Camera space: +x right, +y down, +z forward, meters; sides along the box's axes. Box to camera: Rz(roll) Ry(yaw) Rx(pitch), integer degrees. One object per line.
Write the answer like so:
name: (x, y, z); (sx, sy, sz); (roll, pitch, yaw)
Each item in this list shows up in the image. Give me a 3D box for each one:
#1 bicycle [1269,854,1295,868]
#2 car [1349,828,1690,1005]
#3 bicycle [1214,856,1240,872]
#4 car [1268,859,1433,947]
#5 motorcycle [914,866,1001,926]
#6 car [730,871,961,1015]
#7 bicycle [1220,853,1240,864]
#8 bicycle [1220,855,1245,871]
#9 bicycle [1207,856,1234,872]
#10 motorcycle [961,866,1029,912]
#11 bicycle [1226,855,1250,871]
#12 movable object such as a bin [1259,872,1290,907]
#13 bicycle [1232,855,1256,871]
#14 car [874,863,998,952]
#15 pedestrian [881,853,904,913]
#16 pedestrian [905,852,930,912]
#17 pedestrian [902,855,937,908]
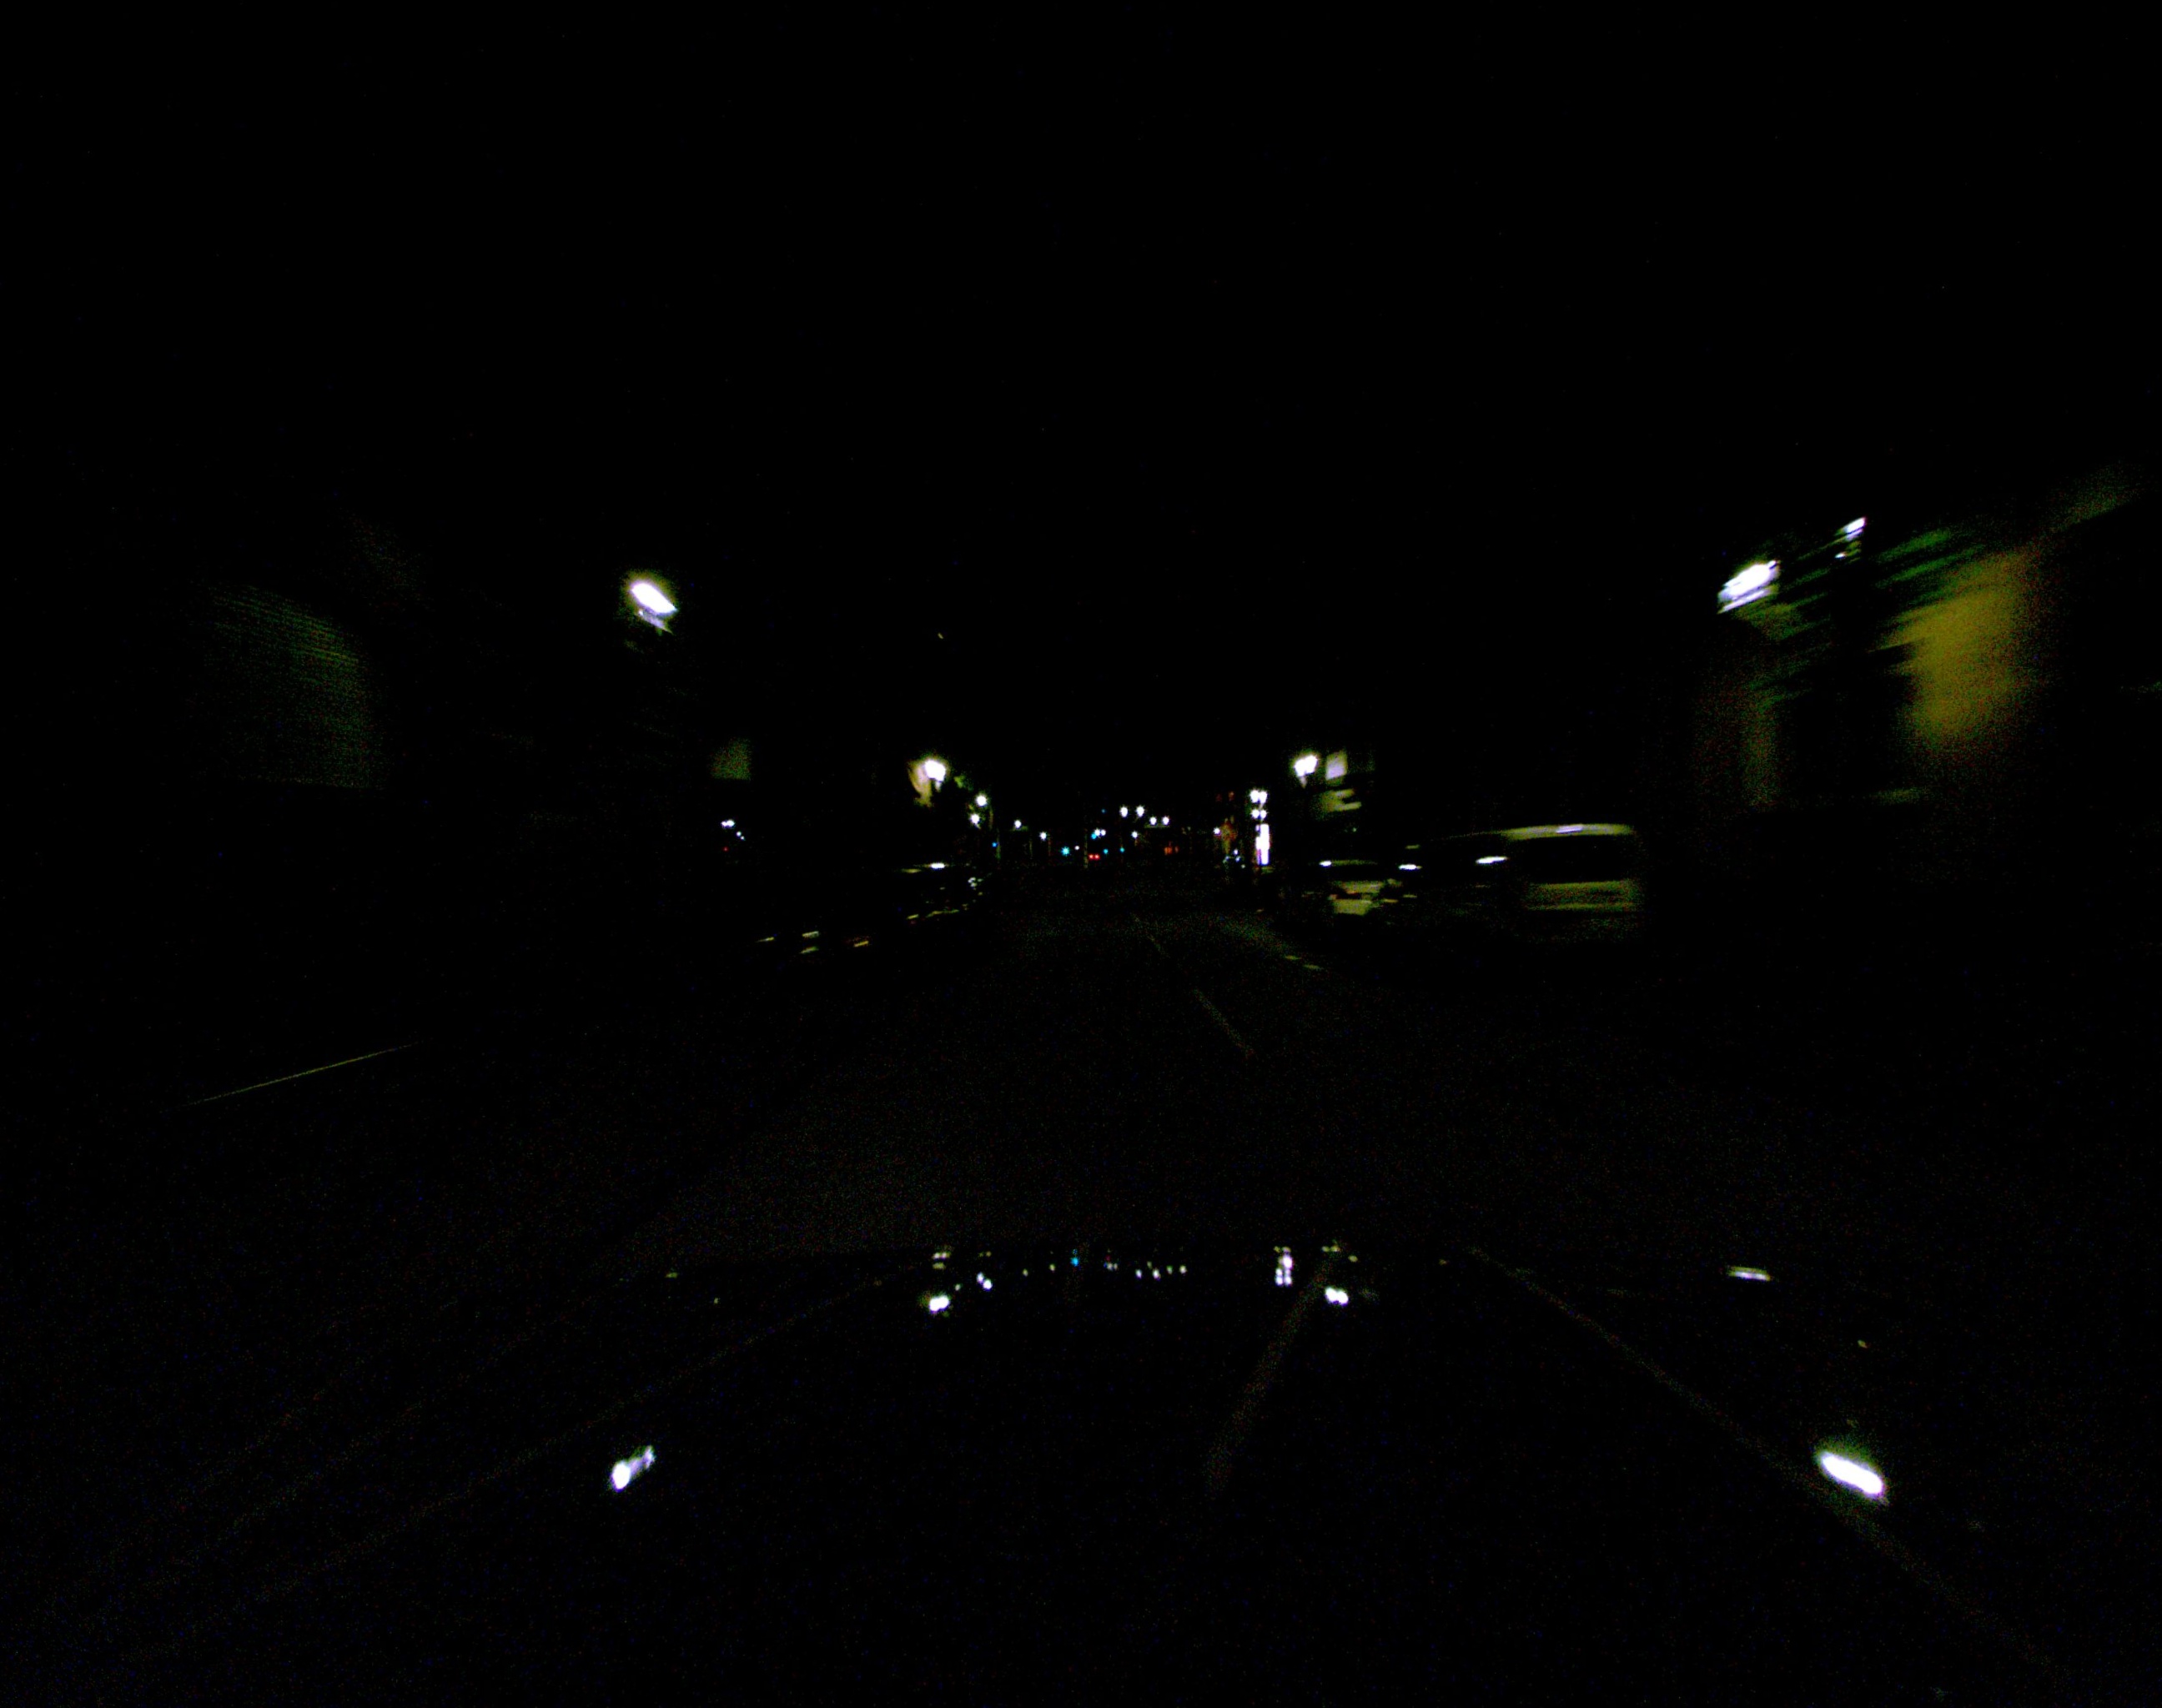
bicycle: (15.730, 0.556, 59.471); (1.865, 1.128, 0.726); (-1, 1, 42)
car: (5.563, 0.664, 10.560); (1.888, 1.832, 4.814); (-2, 0, 0)
bicycle: (10.766, 0.707, 56.049); (1.772, 1.144, 0.615); (-1, 1, 43)
car: (5.462, 0.894, 16.156); (1.843, 1.441, 4.881); (-2, 1, 1)
motorcycle: (-2.998, 1.005, 18.526); (2.059, 1.398, 0.924); (0, 0, -9)
car: (-2.928, 1.037, 10.414); (1.740, 1.445, 4.000); (-1, 0, 3)
bicycle: (14.889, 0.439, 75.995); (1.803, 1.121, 0.650); (-2, 1, -7)
bicycle: (11.290, 0.671, 56.611); (1.772, 1.144, 0.583); (-1, 1, 43)
bicycle: (10.203, 0.719, 55.443); (1.783, 1.144, 0.761); (-1, 1, 43)
motorcycle: (-2.686, 1.072, 23.834); (1.948, 1.345, 0.761); (-1, 1, -35)
bicycle: (11.802, 0.657, 57.051); (0.583, 1.144, 1.773); (-2, 1, -41)
movable object such as a bin: (6.025, 1.090, 23.674); (0.691, 1.043, 0.624); (-4, 2, -40)
bicycle: (12.321, 0.665, 57.518); (0.583, 1.144, 1.773); (-2, 1, -41)
car: (-2.785, 0.973, 15.590); (1.737, 1.492, 4.466); (0, 0, -1)
pedestrian: (-5.404, 0.819, 21.804); (0.478, 1.699, 0.571); (-1, 1, 1)
pedestrian: (-4.692, 0.795, 21.822); (0.508, 1.699, 0.705); (-1, 1, 1)
pedestrian: (-5.130, 0.859, 24.193); (0.809, 1.621, 0.966); (-3, 1, 2)
